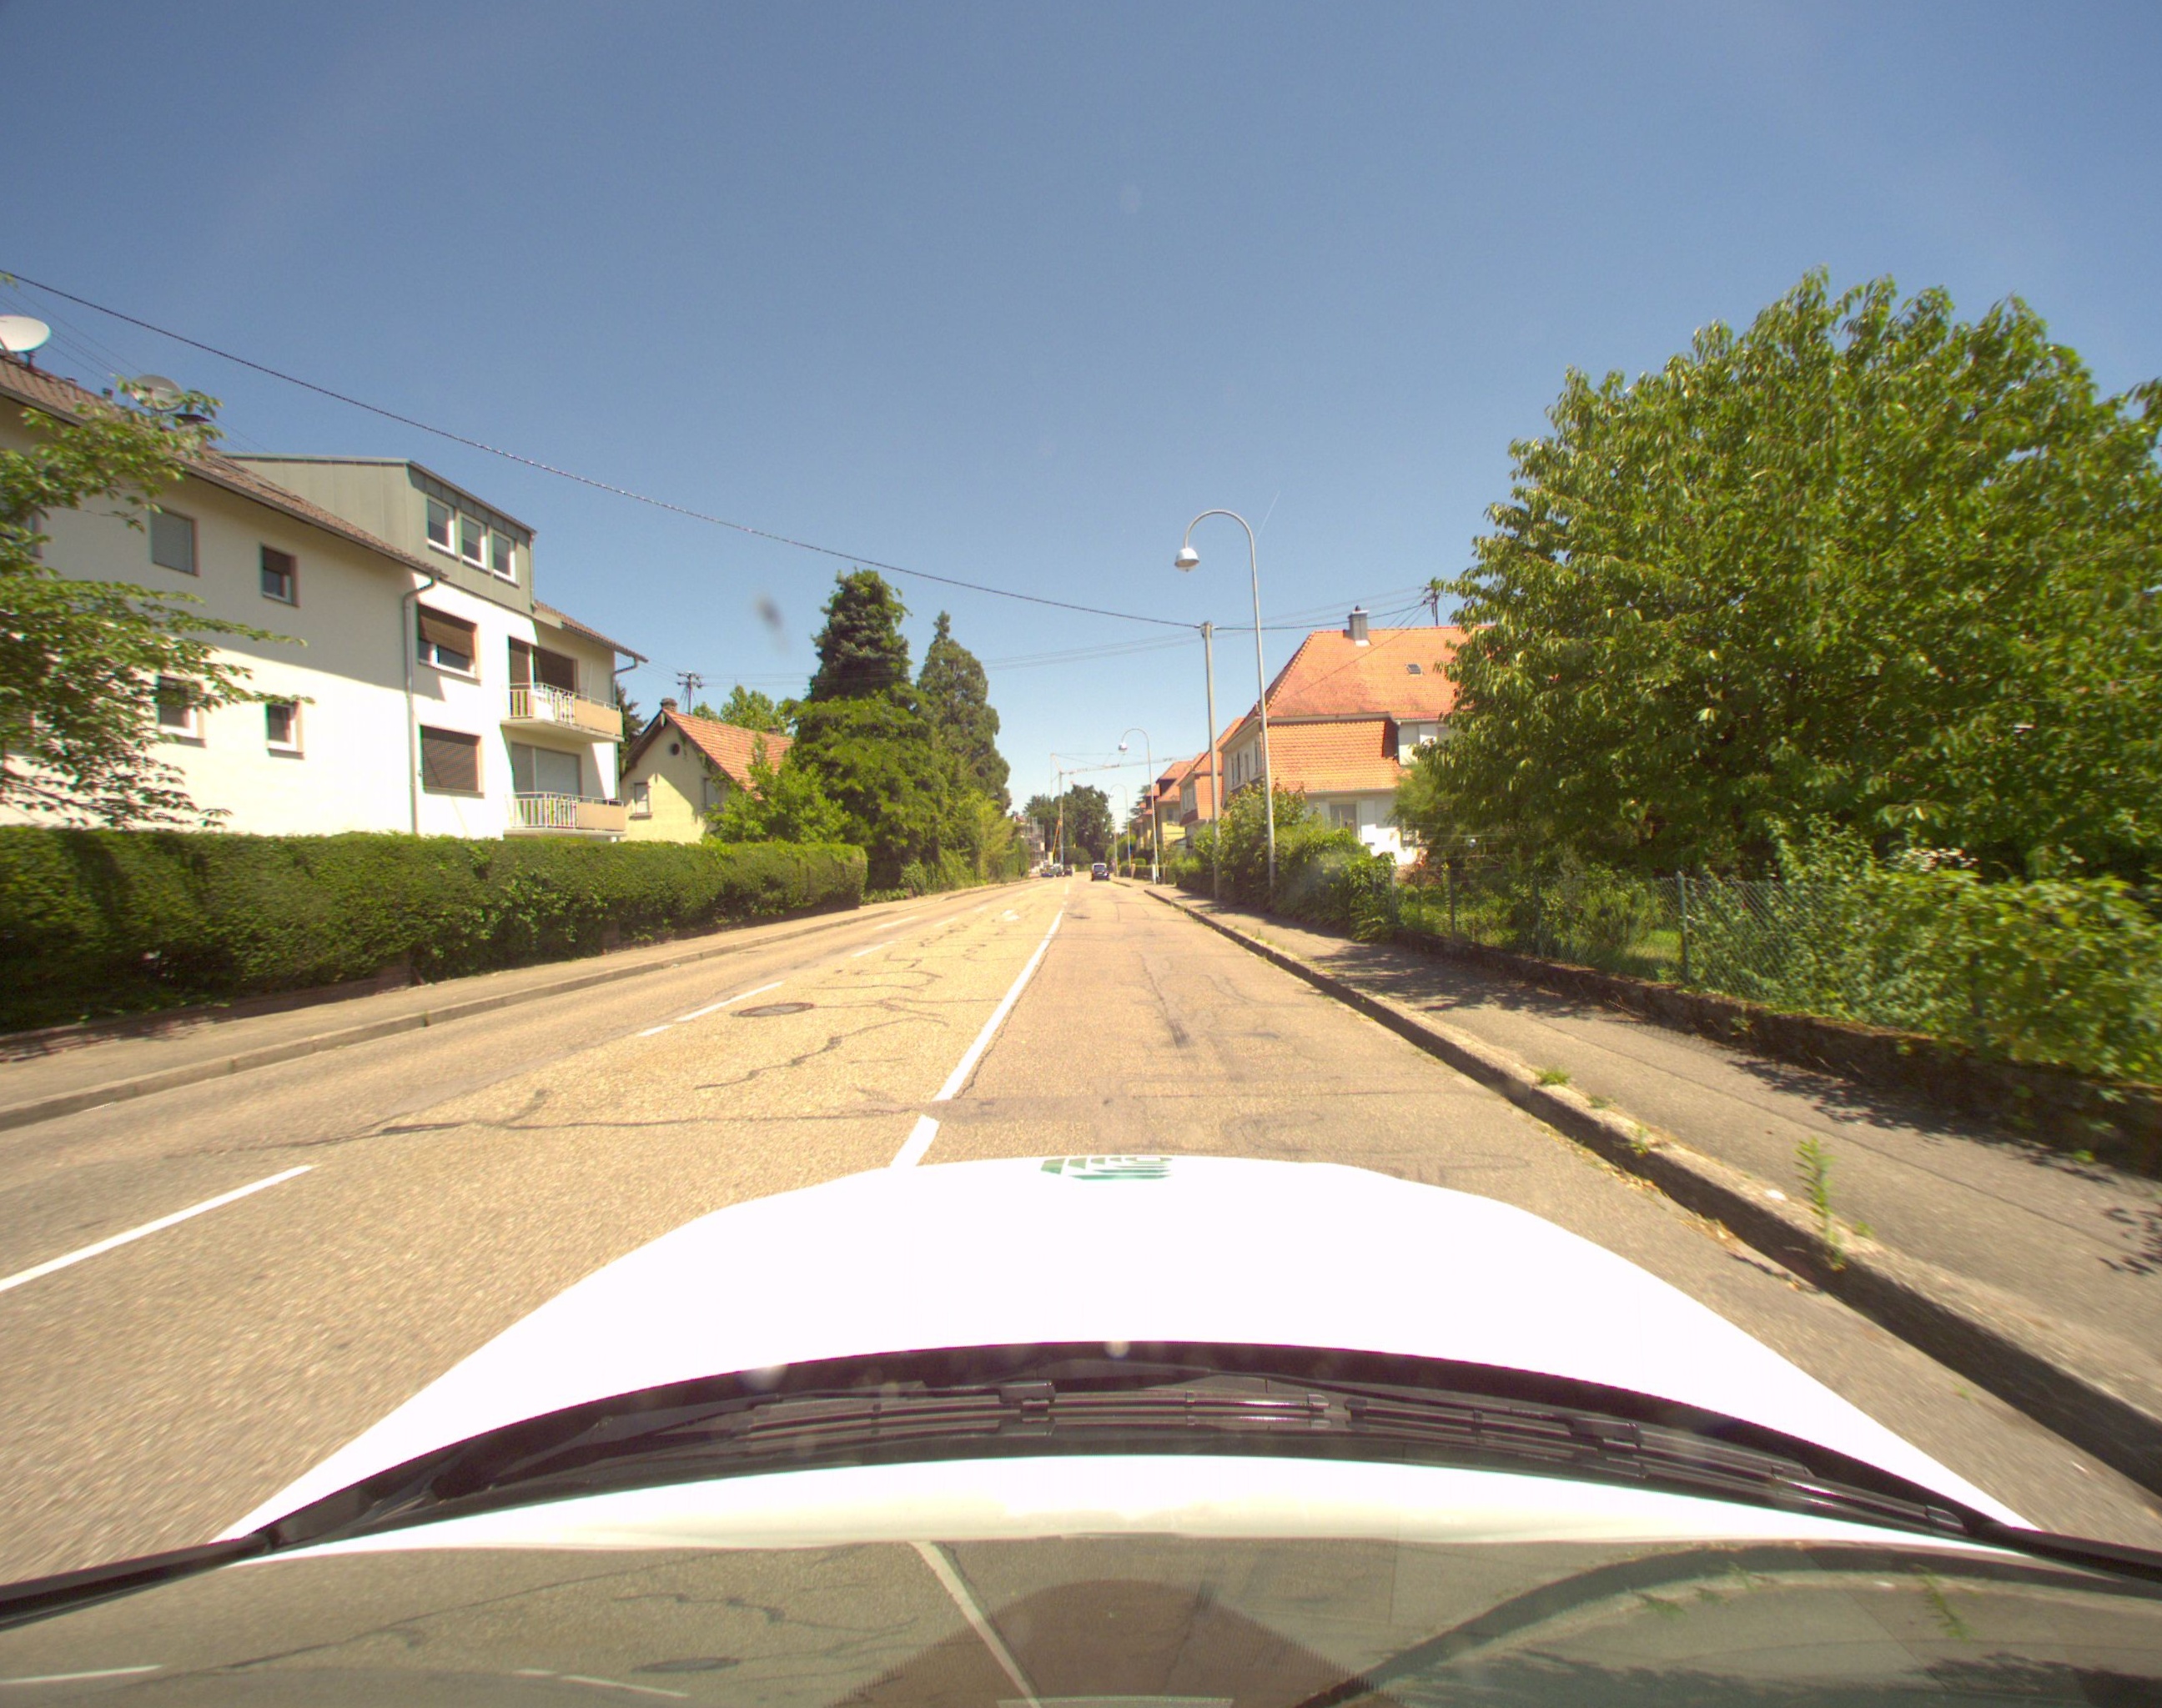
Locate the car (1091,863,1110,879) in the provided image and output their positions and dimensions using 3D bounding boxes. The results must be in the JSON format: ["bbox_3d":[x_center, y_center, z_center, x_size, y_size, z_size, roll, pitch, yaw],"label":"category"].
[{"bbox_3d":[1.862,1.700,78.698,1.687,1.419,4.549,-2,-2,0],"label":"car"}]

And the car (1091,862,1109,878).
[{"bbox_3d":[2.276,1.929,98.681,1.987,1.901,4.822,0,-2,0],"label":"car"}]

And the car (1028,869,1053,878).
[{"bbox_3d":[-7.123,3.491,144.203,3.960,1.468,1.971,-3,0,12],"label":"car"}]

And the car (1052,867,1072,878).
[{"bbox_3d":[-3.502,3.409,150.517,1.976,1.850,4.737,-2,1,23],"label":"car"}]
